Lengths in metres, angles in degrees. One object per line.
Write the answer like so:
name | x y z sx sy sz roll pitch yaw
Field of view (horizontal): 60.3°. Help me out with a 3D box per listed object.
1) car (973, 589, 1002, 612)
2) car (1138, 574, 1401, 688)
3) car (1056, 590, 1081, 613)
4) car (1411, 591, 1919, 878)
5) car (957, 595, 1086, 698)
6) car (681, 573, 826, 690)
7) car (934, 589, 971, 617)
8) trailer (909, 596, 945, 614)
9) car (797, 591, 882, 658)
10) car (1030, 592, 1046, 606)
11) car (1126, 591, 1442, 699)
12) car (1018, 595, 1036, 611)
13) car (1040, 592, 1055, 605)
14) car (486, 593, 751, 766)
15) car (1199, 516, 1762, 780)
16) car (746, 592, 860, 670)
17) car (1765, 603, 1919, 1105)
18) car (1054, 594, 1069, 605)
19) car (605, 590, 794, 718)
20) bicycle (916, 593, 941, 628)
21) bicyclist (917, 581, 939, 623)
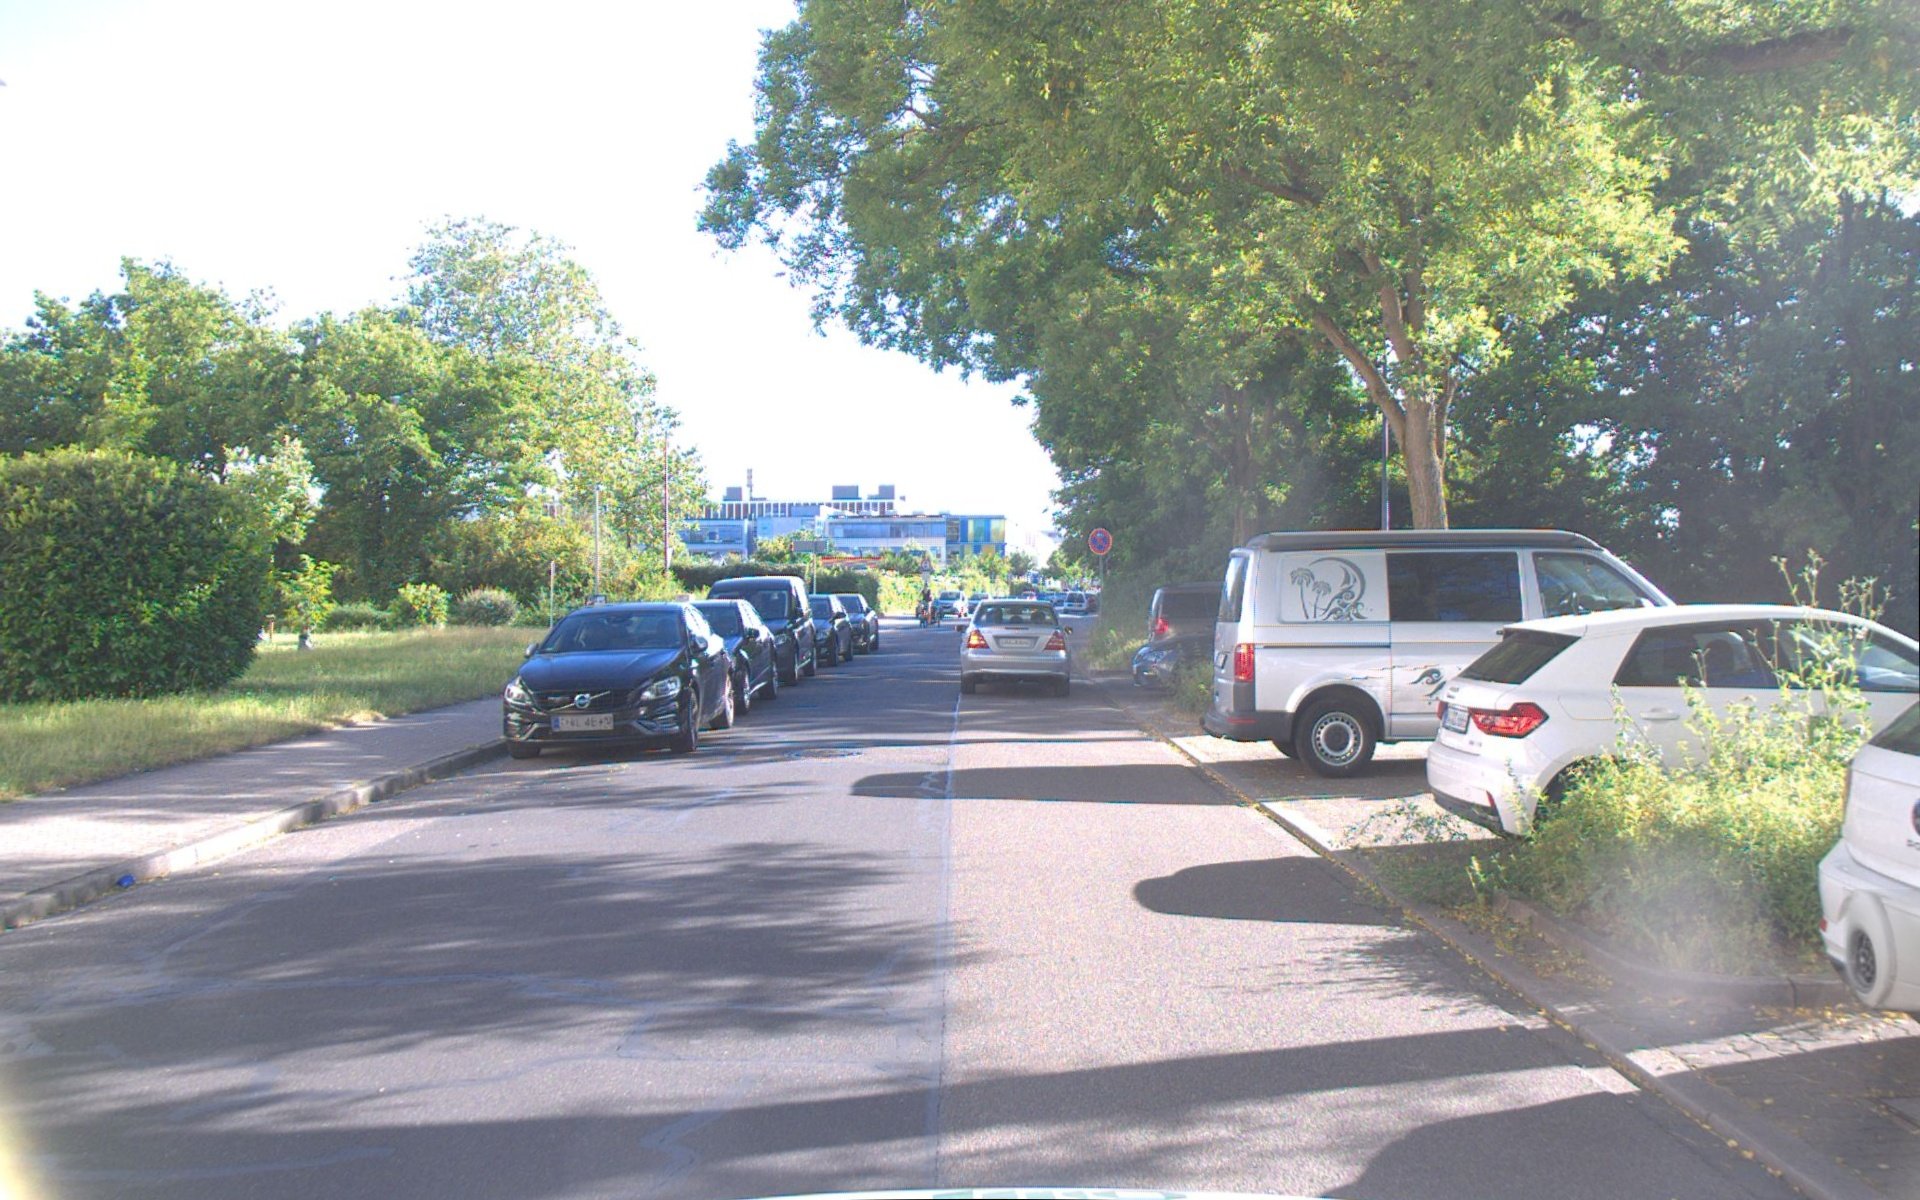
car | 1.974 0.013 118.437 1.608 1.583 4.421 -1 0 6
car | 5.047 0.496 27.384 4.062 1.725 1.776 -1 0 3
car | 7.759 0.076 117.922 1.523 1.565 3.558 2 0 7
car | 4.743 0.712 9.613 3.825 1.460 1.637 -1 0 4
car | 0.890 0.665 26.020 1.702 1.478 3.998 1 0 -2
car | -3.536 0.499 29.165 1.802 1.811 4.889 -2 0 1
car | -0.450 0.191 100.677 1.608 1.628 4.315 1 0 8
trailer | -1.803 0.255 90.641 1.511 0.970 2.649 1 0 9
car | -3.001 0.581 42.013 1.692 1.489 4.683 -2 1 1
car | 8.619 -0.087 183.103 1.526 1.521 3.573 2 0 6
car | 4.755 0.648 24.731 4.360 1.439 1.775 -2 0 0
car | 6.699 0.268 165.115 1.526 1.521 3.573 -1 0 6
car | 10.603 -0.194 200.045 1.526 1.521 3.761 -1 0 6
car | -3.390 0.703 17.355 1.802 1.507 4.800 -2 0 -1
car | 4.453 0.395 14.725 4.359 2.051 2.022 -2 0 2
car | -3.321 0.625 35.665 1.801 1.479 4.020 -2 1 3
car | 4.733 0.682 4.929 3.827 1.460 1.636 -3 0 1
car | 14.106 -0.062 229.242 1.815 1.453 4.137 1 0 6
car | -3.509 0.670 23.090 1.802 1.507 4.575 -3 0 0
bicycle | -1.274 0.399 67.488 0.833 1.394 3.221 0 0 3
bicyclist | -1.294 0.061 67.100 0.827 1.687 1.065 0 0 2
